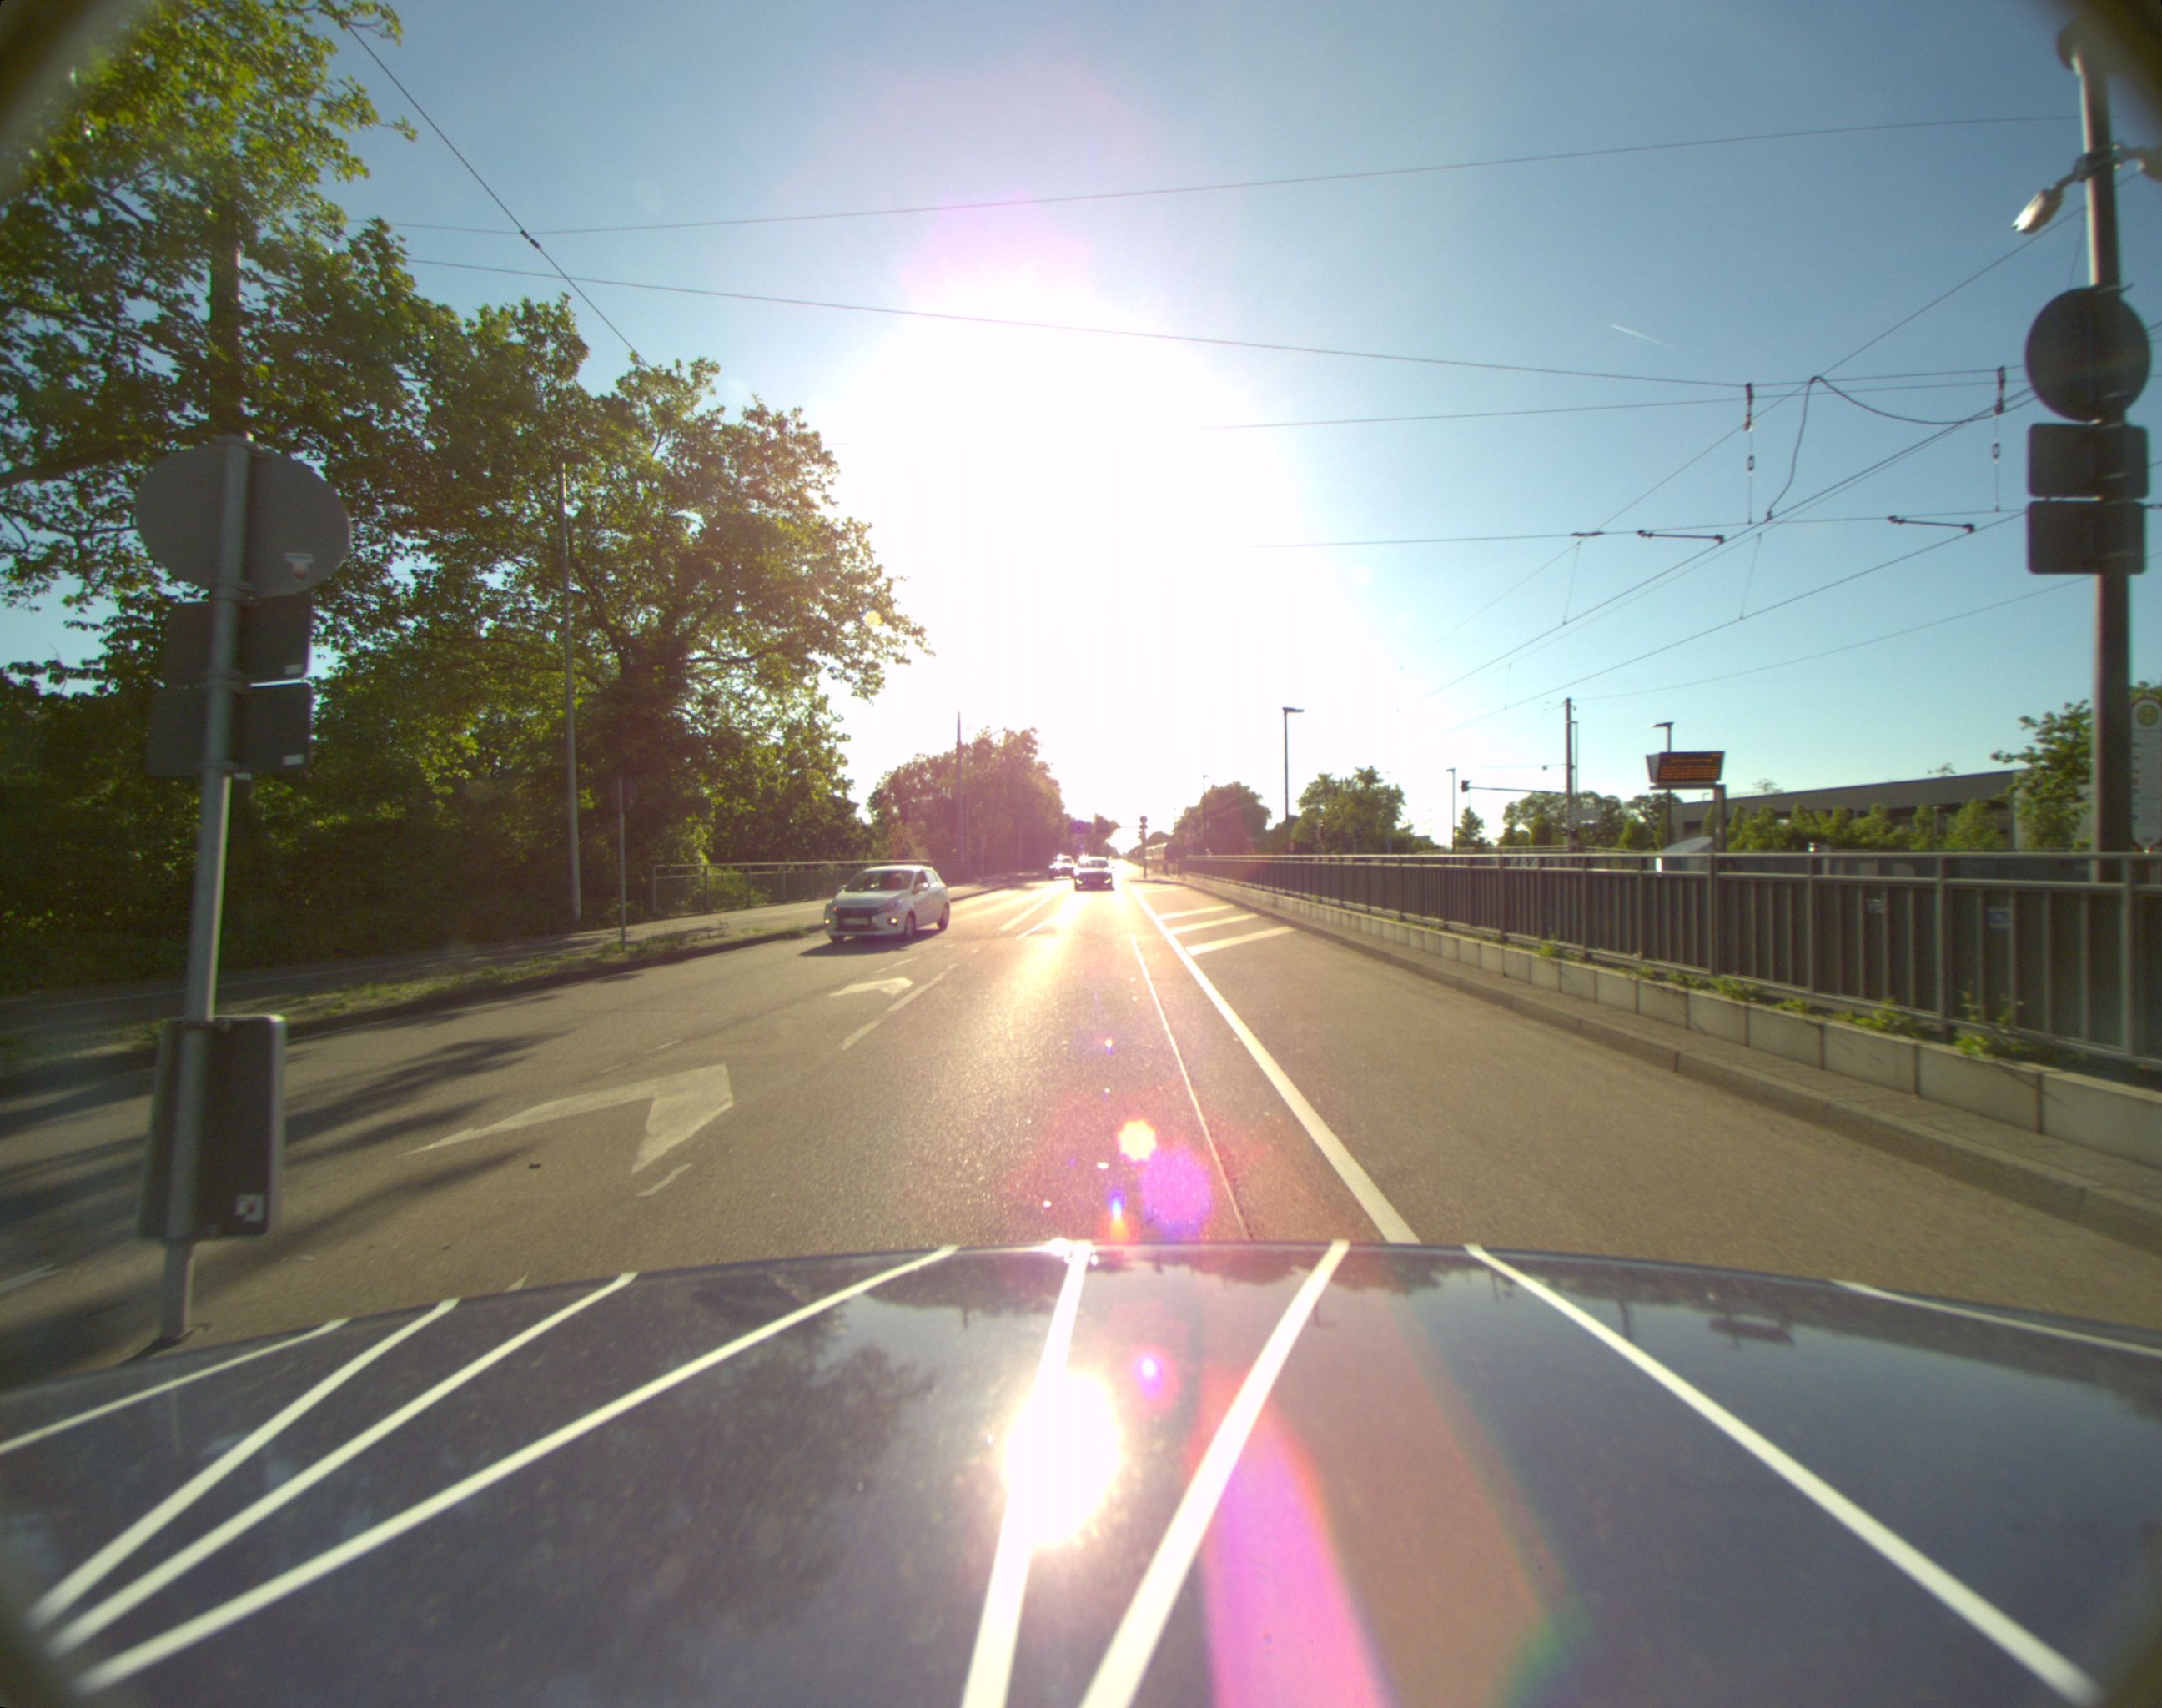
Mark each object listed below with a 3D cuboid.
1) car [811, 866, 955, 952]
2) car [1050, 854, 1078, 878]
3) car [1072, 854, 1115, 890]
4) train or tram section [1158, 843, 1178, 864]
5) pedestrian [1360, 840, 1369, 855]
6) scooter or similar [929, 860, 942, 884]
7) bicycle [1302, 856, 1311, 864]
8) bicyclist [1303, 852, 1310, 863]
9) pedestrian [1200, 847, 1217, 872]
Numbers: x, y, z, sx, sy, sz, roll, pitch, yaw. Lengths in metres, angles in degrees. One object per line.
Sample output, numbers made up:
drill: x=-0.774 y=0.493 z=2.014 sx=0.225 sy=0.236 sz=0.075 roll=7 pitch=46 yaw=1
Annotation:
car: x=-4.048 y=1.068 z=16.185 sx=1.670 sy=1.465 sz=3.746 roll=-3 pitch=0 yaw=6
car: x=-1.222 y=0.851 z=56.225 sx=1.824 sy=1.608 sz=4.000 roll=-2 pitch=0 yaw=1
car: x=0.619 y=0.782 z=34.725 sx=1.786 sy=1.530 sz=4.001 roll=-1 pitch=0 yaw=3
train or tram section: x=17.131 y=-0.047 z=149.479 sx=2.891 sy=3.924 sz=12.113 roll=-1 pitch=0 yaw=2
pedestrian: x=31.825 y=-0.740 z=85.409 sx=0.722 sy=1.599 sz=0.879 roll=-1 pitch=1 yaw=2
scooter or similar: x=-7.893 y=0.949 z=41.339 sx=0.427 sy=1.267 sz=1.083 roll=-1 pitch=0 yaw=2
bicycle: x=32.585 y=0.831 z=110.029 sx=0.632 sy=1.121 sz=2.528 roll=-1 pitch=0 yaw=2
bicyclist: x=32.590 y=0.519 z=110.035 sx=0.770 sy=1.608 sz=0.835 roll=-1 pitch=1 yaw=2
pedestrian: x=8.646 y=0.359 z=51.459 sx=0.892 sy=1.635 sz=0.986 roll=-1 pitch=1 yaw=-8
